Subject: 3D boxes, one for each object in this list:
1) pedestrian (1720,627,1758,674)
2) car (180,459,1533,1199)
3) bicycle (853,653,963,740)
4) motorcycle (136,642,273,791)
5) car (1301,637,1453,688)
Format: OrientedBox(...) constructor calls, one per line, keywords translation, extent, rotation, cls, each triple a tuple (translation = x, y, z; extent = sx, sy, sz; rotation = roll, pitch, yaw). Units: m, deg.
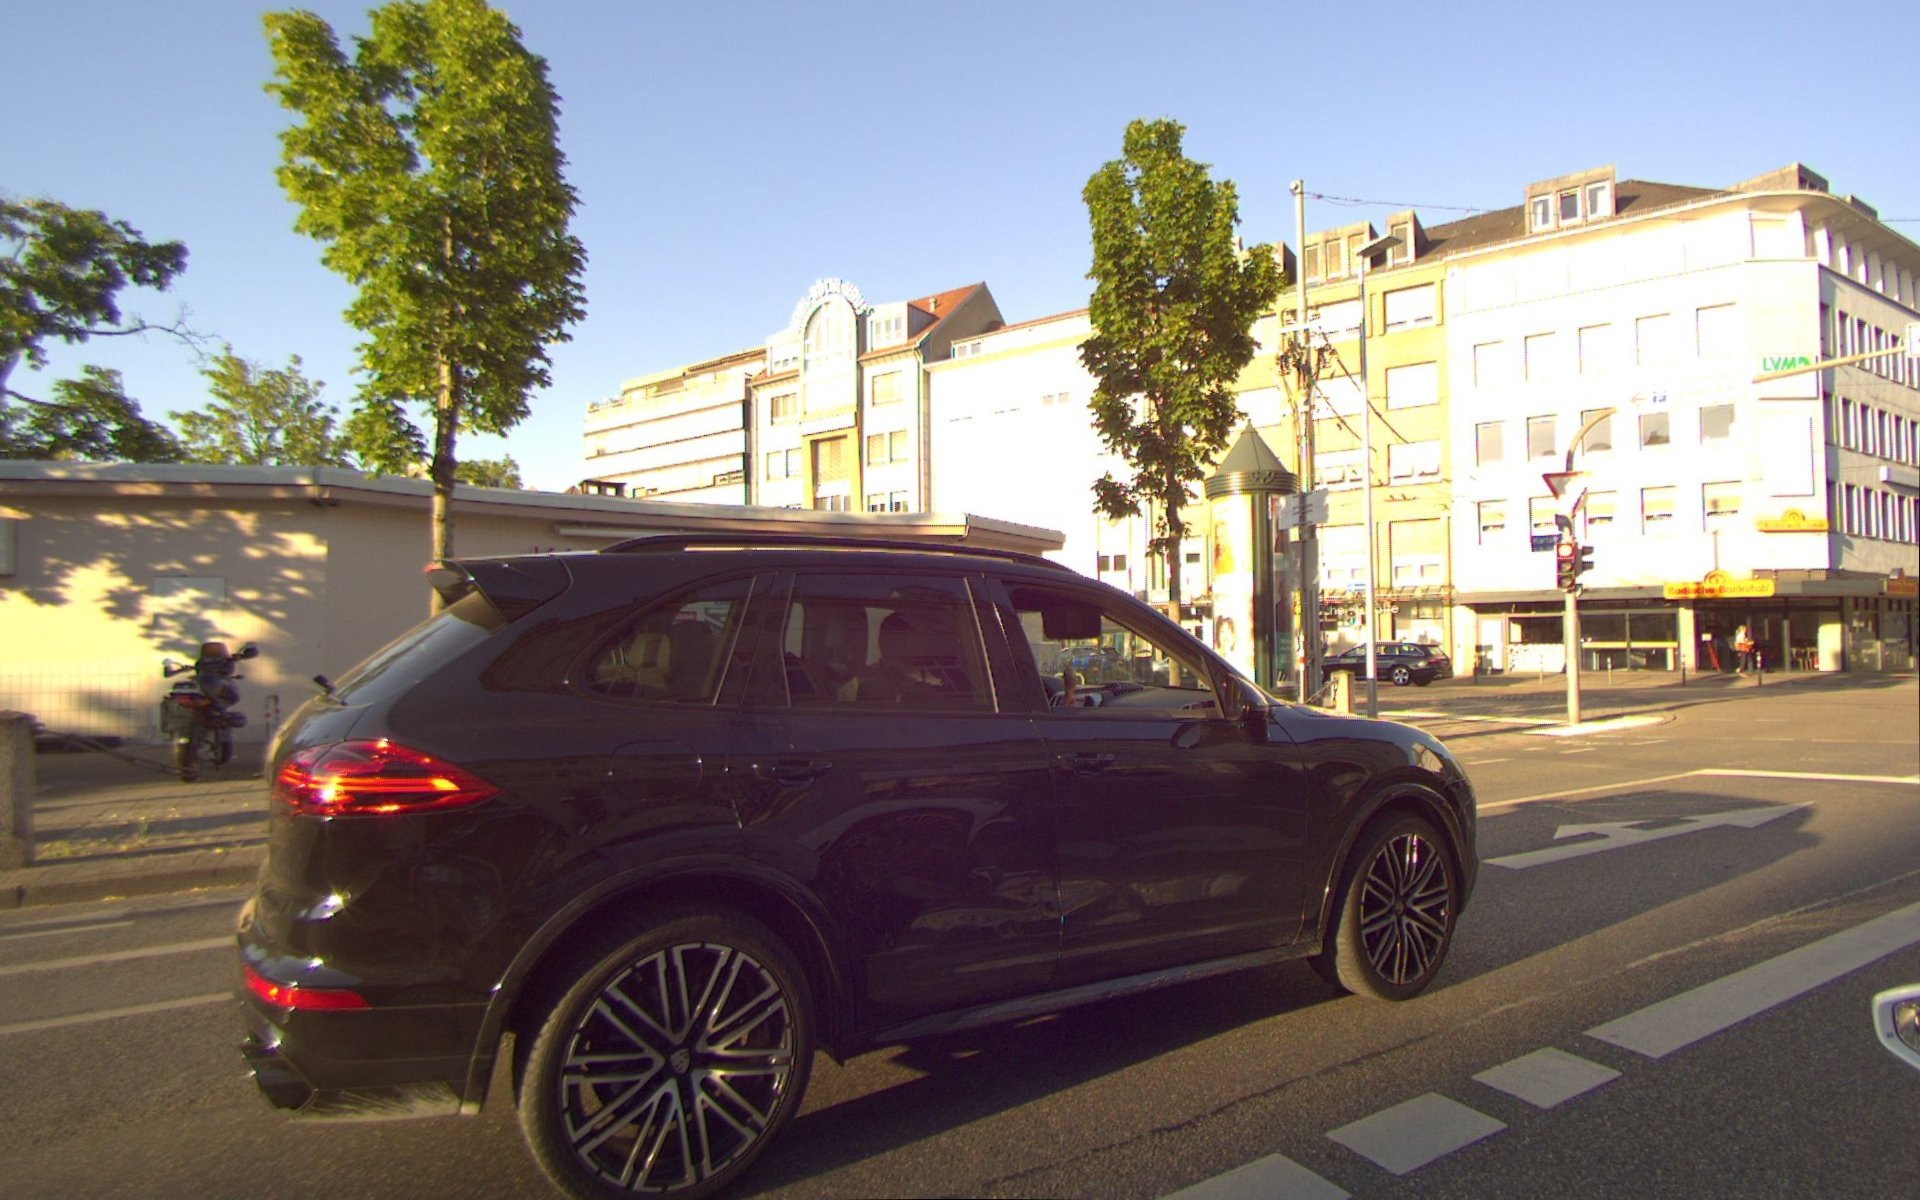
OrientedBox(translation=(26.484, 1.709, 34.146), extent=(0.933, 1.557, 0.906), rotation=(-2, -3, 35), cls="pedestrian")
OrientedBox(translation=(-0.029, 0.666, 3.913), extent=(4.509, 1.736, 1.940), rotation=(1, -3, -31), cls="car")
OrientedBox(translation=(-0.885, 1.501, 16.190), extent=(0.778, 1.273, 2.433), rotation=(1, -3, -29), cls="bicycle")
OrientedBox(translation=(-8.343, 1.214, 11.214), extent=(0.857, 1.448, 2.570), rotation=(1, -3, -29), cls="motorcycle")
OrientedBox(translation=(14.019, 2.071, 33.931), extent=(1.866, 1.616, 4.391), rotation=(1, -3, -44), cls="car")
